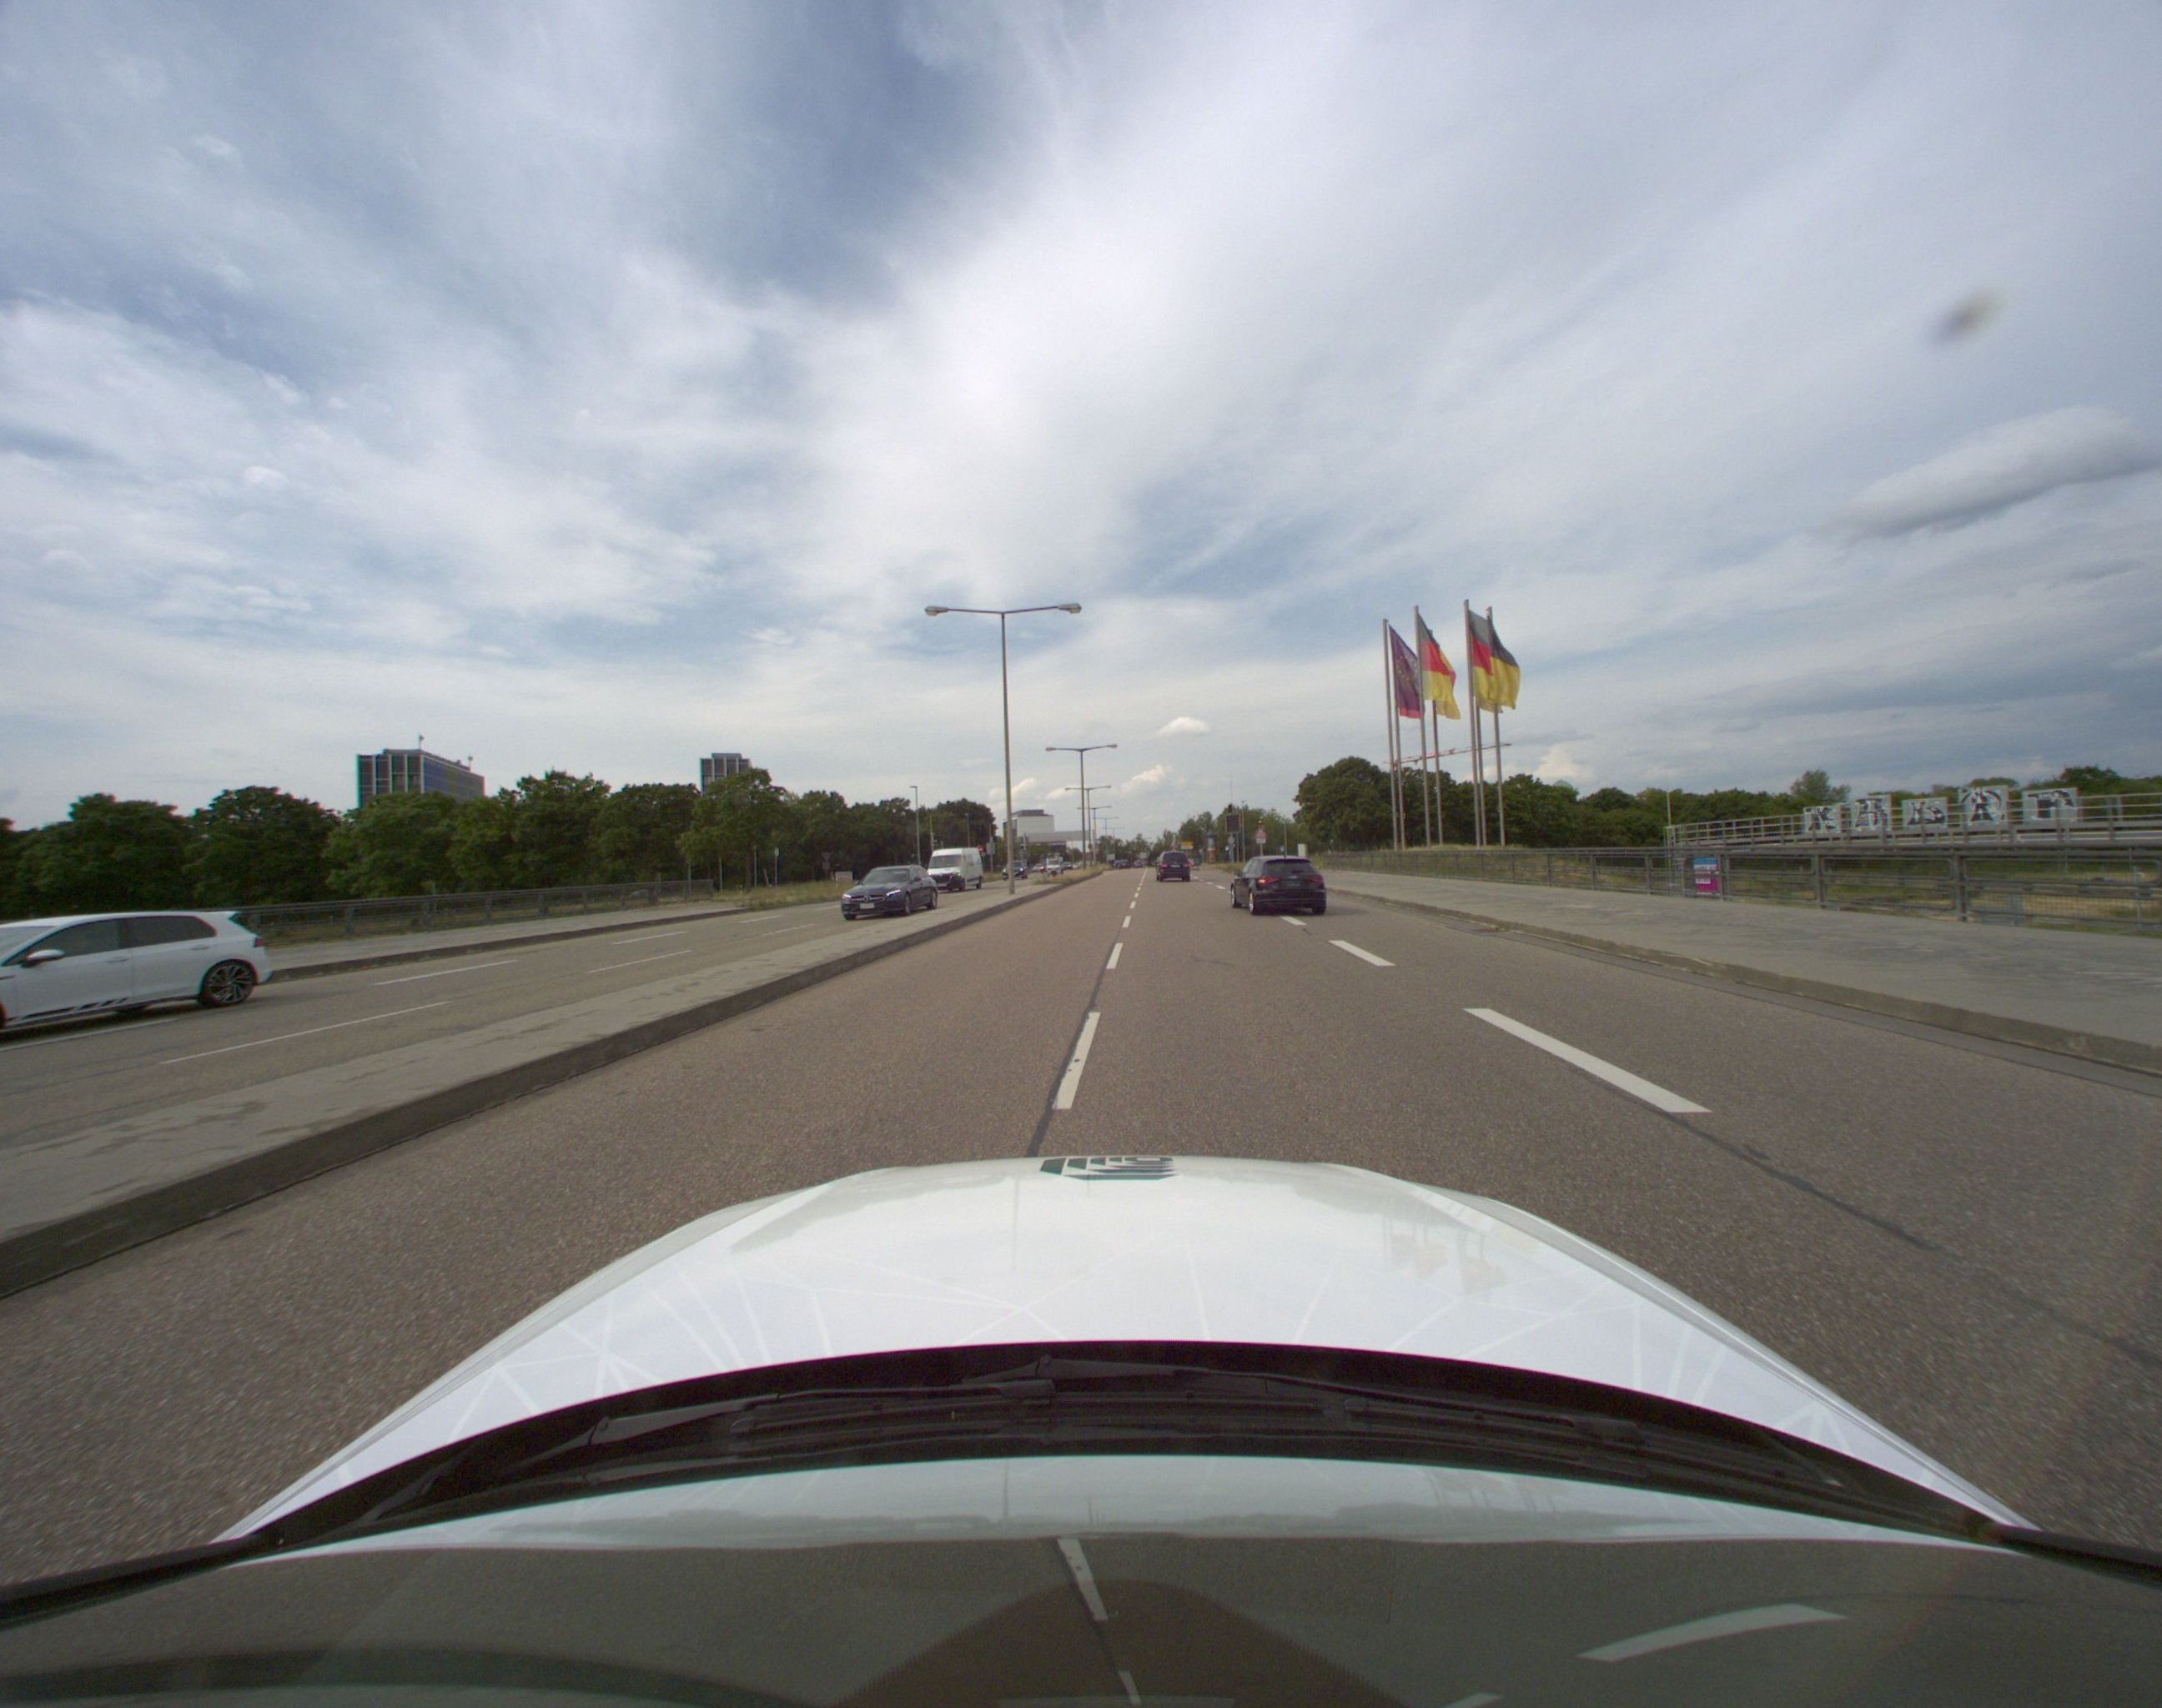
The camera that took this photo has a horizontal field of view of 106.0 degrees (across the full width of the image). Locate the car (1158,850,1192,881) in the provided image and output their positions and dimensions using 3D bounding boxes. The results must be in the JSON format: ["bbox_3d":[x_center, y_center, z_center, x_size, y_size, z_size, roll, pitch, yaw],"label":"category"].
[{"bbox_3d":[5.383,0.642,47.054,1.723,1.653,4.119,-1,-1,4],"label":"car"}]

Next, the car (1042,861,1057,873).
[{"bbox_3d":[-4.455,1.815,115.739,1.644,1.574,4.341,-5,0,3],"label":"car"}]

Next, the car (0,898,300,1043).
[{"bbox_3d":[-13.255,1.493,10.488,1.730,1.480,4.478,-4,0,5],"label":"car"}]

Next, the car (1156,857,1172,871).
[{"bbox_3d":[10.200,1.175,99.949,1.723,1.653,4.119,-1,-1,4],"label":"car"}]

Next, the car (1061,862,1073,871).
[{"bbox_3d":[-2.543,2.203,147.245,1.738,1.475,4.568,-3,0,3],"label":"car"}]

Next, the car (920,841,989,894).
[{"bbox_3d":[-7.061,0.691,46.191,2.042,2.643,6.412,-4,0,6],"label":"car"}]

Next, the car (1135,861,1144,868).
[{"bbox_3d":[12.765,2.289,177.799,1.723,1.526,4.119,-1,0,4],"label":"car"}]

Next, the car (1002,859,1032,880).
[{"bbox_3d":[-5.567,1.291,71.151,1.738,1.585,4.594,-4,0,6],"label":"car"}]

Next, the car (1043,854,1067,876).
[{"bbox_3d":[-2.341,0.982,74.159,1.532,1.871,3.576,-4,0,6],"label":"car"}]

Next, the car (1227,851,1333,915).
[{"bbox_3d":[4.850,0.670,20.421,1.724,1.395,4.116,-2,0,2],"label":"car"}]

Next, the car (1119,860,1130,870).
[{"bbox_3d":[7.492,1.801,139.045,1.723,1.653,4.119,-1,-1,4],"label":"car"}]

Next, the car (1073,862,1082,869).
[{"bbox_3d":[-0.852,2.675,187.154,1.739,1.598,4.567,-3,0,2],"label":"car"}]

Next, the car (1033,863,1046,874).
[{"bbox_3d":[-7.116,2.536,139.719,1.986,1.750,4.002,-1,0,2],"label":"car"}]

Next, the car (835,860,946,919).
[{"bbox_3d":[-5.541,0.980,24.350,1.730,1.480,4.782,-4,-1,5],"label":"car"}]
